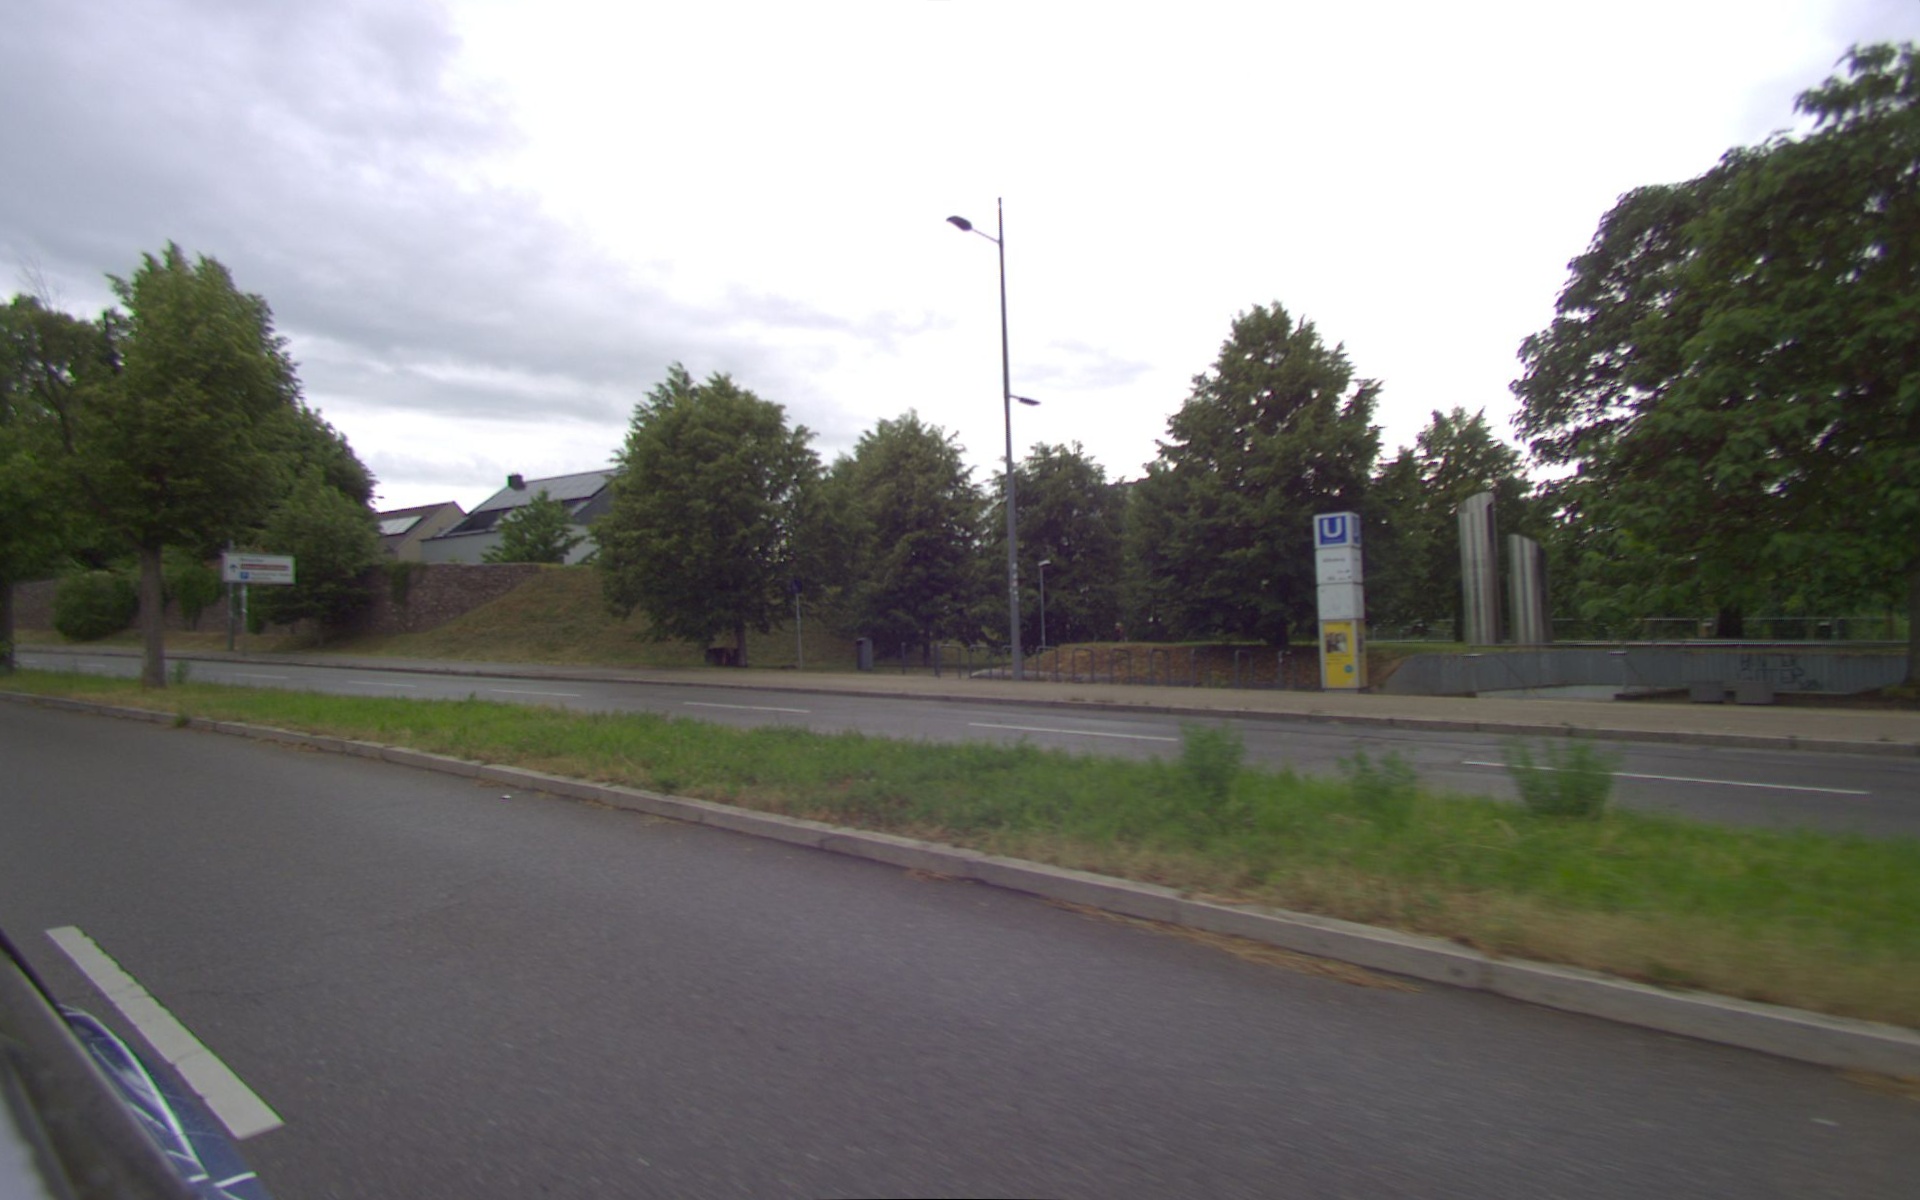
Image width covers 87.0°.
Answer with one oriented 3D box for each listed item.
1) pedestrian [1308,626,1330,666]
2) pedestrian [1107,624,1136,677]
[{"bbox_3d":[15.992,2.030,45.080,0.648,1.741,0.745,0,-1,43],"label":"pedestrian"},{"bbox_3d":[5.434,1.691,33.981,0.754,1.741,0.639,0,-1,38],"label":"pedestrian"}]
